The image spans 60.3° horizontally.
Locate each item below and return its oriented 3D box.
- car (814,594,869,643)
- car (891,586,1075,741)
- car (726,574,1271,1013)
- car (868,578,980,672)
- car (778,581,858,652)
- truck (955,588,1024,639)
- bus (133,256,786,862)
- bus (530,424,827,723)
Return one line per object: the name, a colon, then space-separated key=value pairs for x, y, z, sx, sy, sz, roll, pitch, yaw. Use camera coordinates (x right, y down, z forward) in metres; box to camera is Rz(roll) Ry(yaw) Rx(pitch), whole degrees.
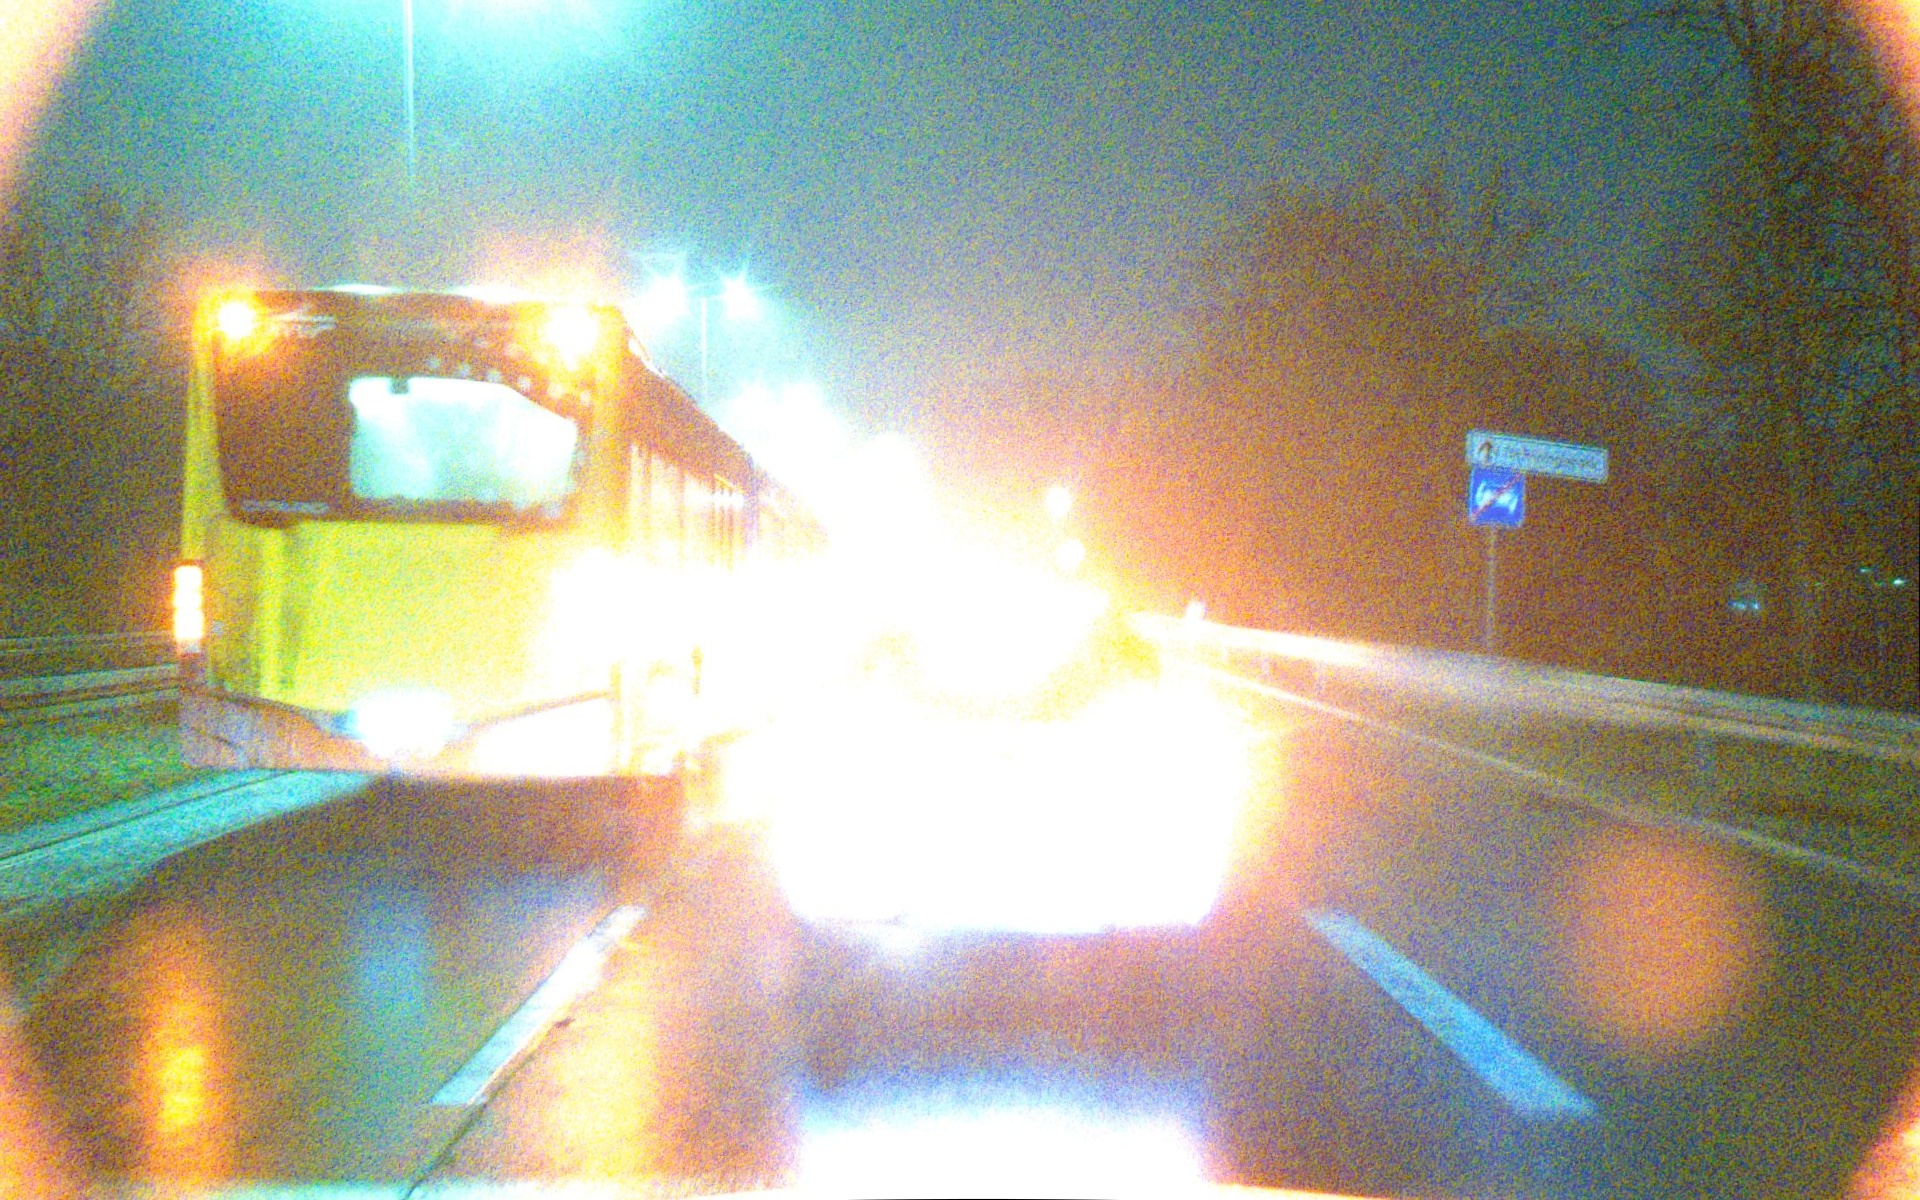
car: x=-3.867 y=0.627 z=54.475 sx=1.526 sy=1.513 sz=3.808 roll=2 pitch=-1 yaw=-1
car: x=0.198 y=0.619 z=17.990 sx=1.785 sy=1.487 sz=3.715 roll=1 pitch=0 yaw=-1
car: x=0.174 y=0.682 z=7.687 sx=1.904 sy=1.517 sz=3.716 roll=1 pitch=0 yaw=1
car: x=-0.602 y=0.397 z=28.413 sx=1.785 sy=1.487 sz=3.715 roll=1 pitch=0 yaw=-1
car: x=-3.241 y=0.397 z=38.331 sx=1.526 sy=1.513 sz=3.808 roll=2 pitch=-1 yaw=-1
truck: x=1.669 y=0.779 z=90.194 sx=3.005 sy=2.573 sz=7.171 roll=2 pitch=-1 yaw=6
bus: x=-3.178 y=-0.261 z=13.526 sx=2.688 sy=3.178 sz=9.198 roll=2 pitch=1 yaw=-2
bus: x=-3.430 y=-0.332 z=22.480 sx=2.688 sy=3.178 sz=8.701 roll=2 pitch=1 yaw=-2
